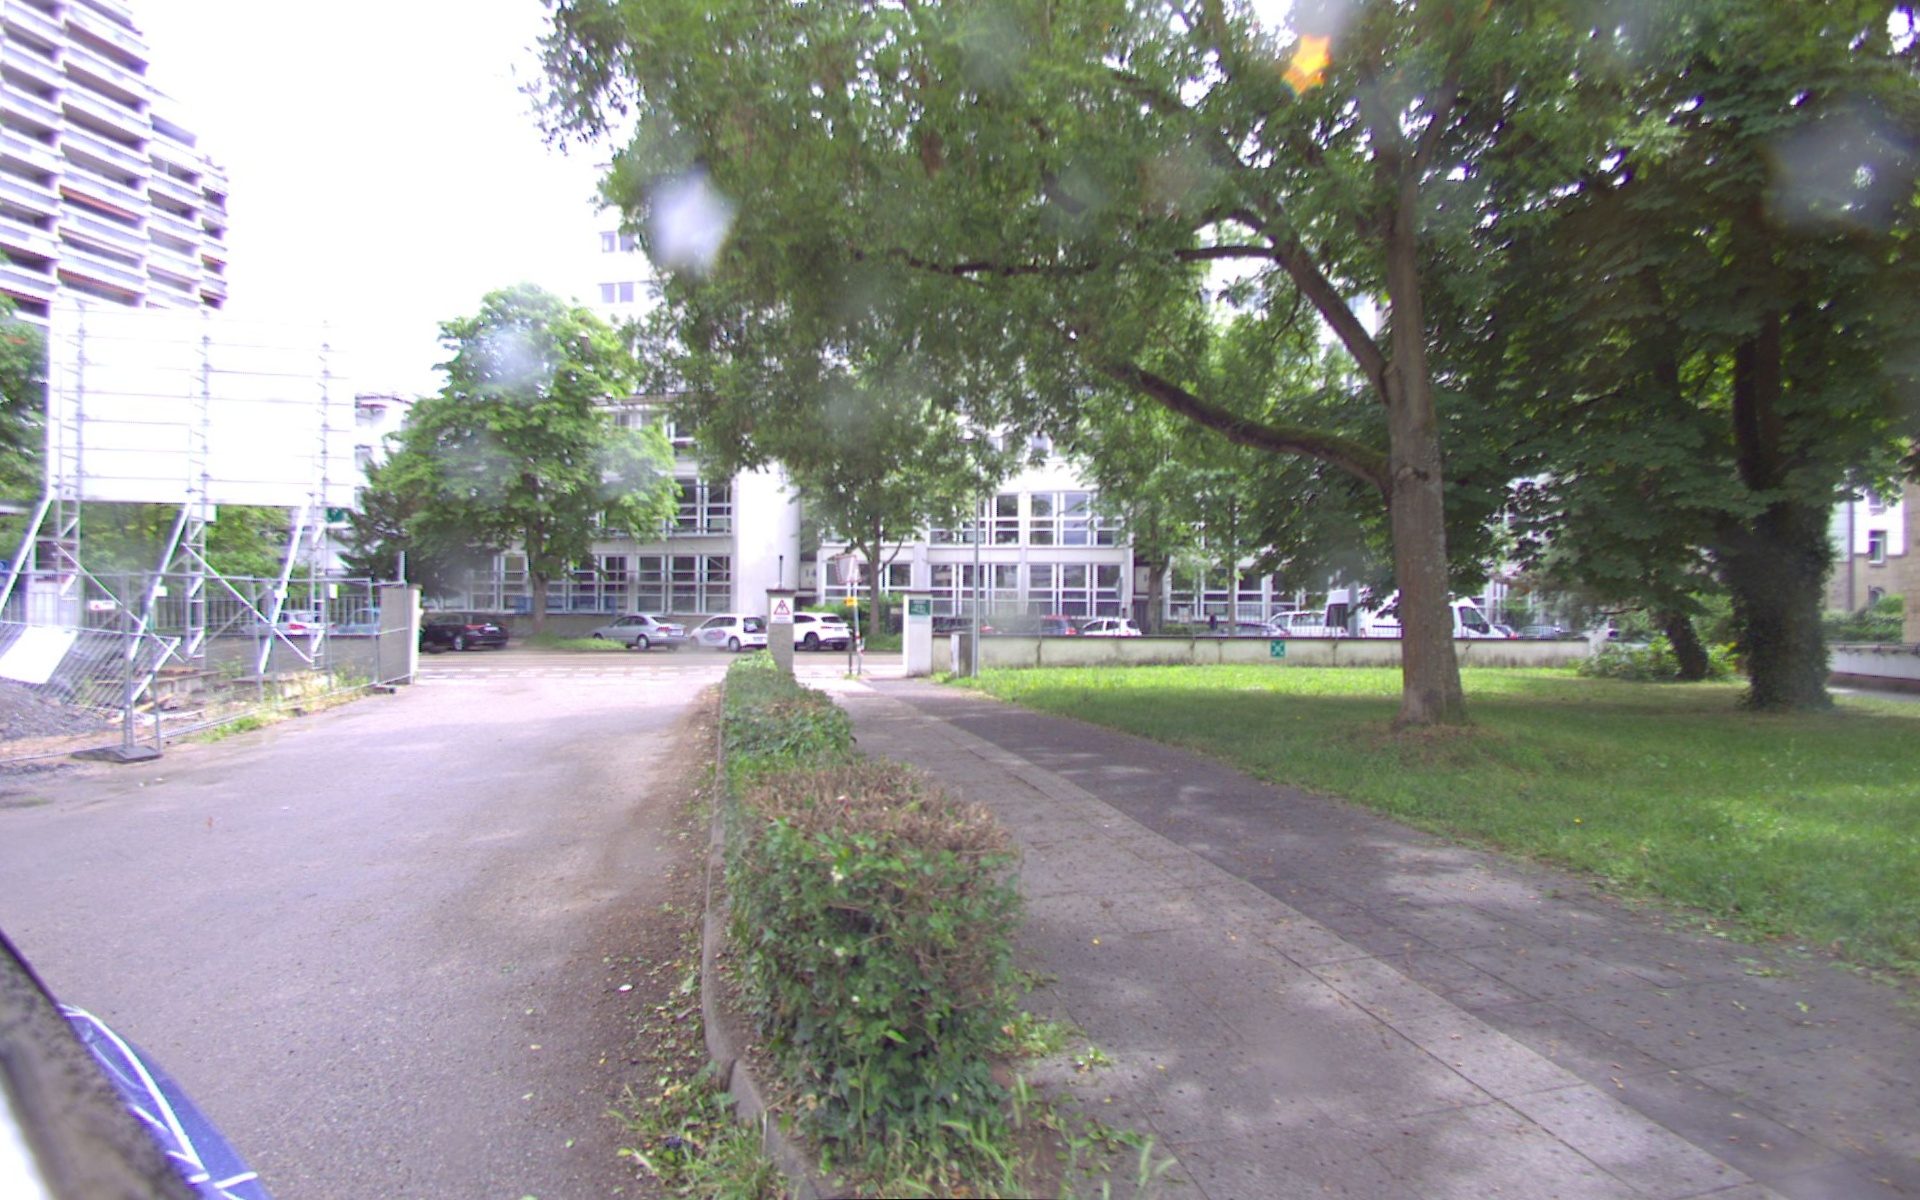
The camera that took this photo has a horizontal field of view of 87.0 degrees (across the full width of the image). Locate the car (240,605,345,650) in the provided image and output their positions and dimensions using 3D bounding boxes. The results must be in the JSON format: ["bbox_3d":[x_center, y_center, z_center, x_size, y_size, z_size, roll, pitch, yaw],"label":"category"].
[{"bbox_3d":[-24.028,0.946,36.393,3.991,1.497,1.837,-1,0,35],"label":"car"}]

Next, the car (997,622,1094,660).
[{"bbox_3d":[3.647,1.746,43.550,3.770,1.517,1.769,0,-3,34],"label":"car"}]

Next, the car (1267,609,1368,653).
[{"bbox_3d":[16.393,1.411,46.461,4.074,1.947,1.769,0,-3,34],"label":"car"}]

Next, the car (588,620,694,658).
[{"bbox_3d":[-12.662,1.541,40.129,3.982,1.426,1.706,-1,-3,29],"label":"car"}]

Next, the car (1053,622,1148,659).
[{"bbox_3d":[6.189,1.775,44.796,3.770,1.517,1.769,0,-3,34],"label":"car"}]

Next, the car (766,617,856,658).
[{"bbox_3d":[-6.094,1.516,41.350,3.380,1.615,1.688,-1,-3,33],"label":"car"}]

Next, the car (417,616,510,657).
[{"bbox_3d":[-18.646,1.341,37.961,3.640,1.438,1.603,0,-1,35],"label":"car"}]

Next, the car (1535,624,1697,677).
[{"bbox_3d":[20.235,1.545,31.252,4.073,1.533,1.917,2,-2,-14],"label":"car"}]

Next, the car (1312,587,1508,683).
[{"bbox_3d":[13.232,1.051,29.839,4.995,2.601,2.100,2,-2,-14],"label":"car"}]

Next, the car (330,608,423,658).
[{"bbox_3d":[-21.596,1.188,37.444,3.640,1.760,1.603,0,-1,35],"label":"car"}]

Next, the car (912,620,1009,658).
[{"bbox_3d":[0.011,1.664,43.151,3.770,1.517,1.769,0,-3,34],"label":"car"}]

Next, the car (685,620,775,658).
[{"bbox_3d":[-9.176,1.560,40.359,3.380,1.456,1.635,-1,-3,33],"label":"car"}]

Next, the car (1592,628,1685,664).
[{"bbox_3d":[34.398,2.323,51.430,3.877,1.687,1.730,0,-3,34],"label":"car"}]

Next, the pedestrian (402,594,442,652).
[{"bbox_3d":[-19.159,0.806,36.038,0.927,2.029,0.852,0,-2,27],"label":"pedestrian"}]

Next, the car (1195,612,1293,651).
[{"bbox_3d":[12.921,1.416,46.039,4.059,1.663,1.776,1,-2,24],"label":"car"}]
